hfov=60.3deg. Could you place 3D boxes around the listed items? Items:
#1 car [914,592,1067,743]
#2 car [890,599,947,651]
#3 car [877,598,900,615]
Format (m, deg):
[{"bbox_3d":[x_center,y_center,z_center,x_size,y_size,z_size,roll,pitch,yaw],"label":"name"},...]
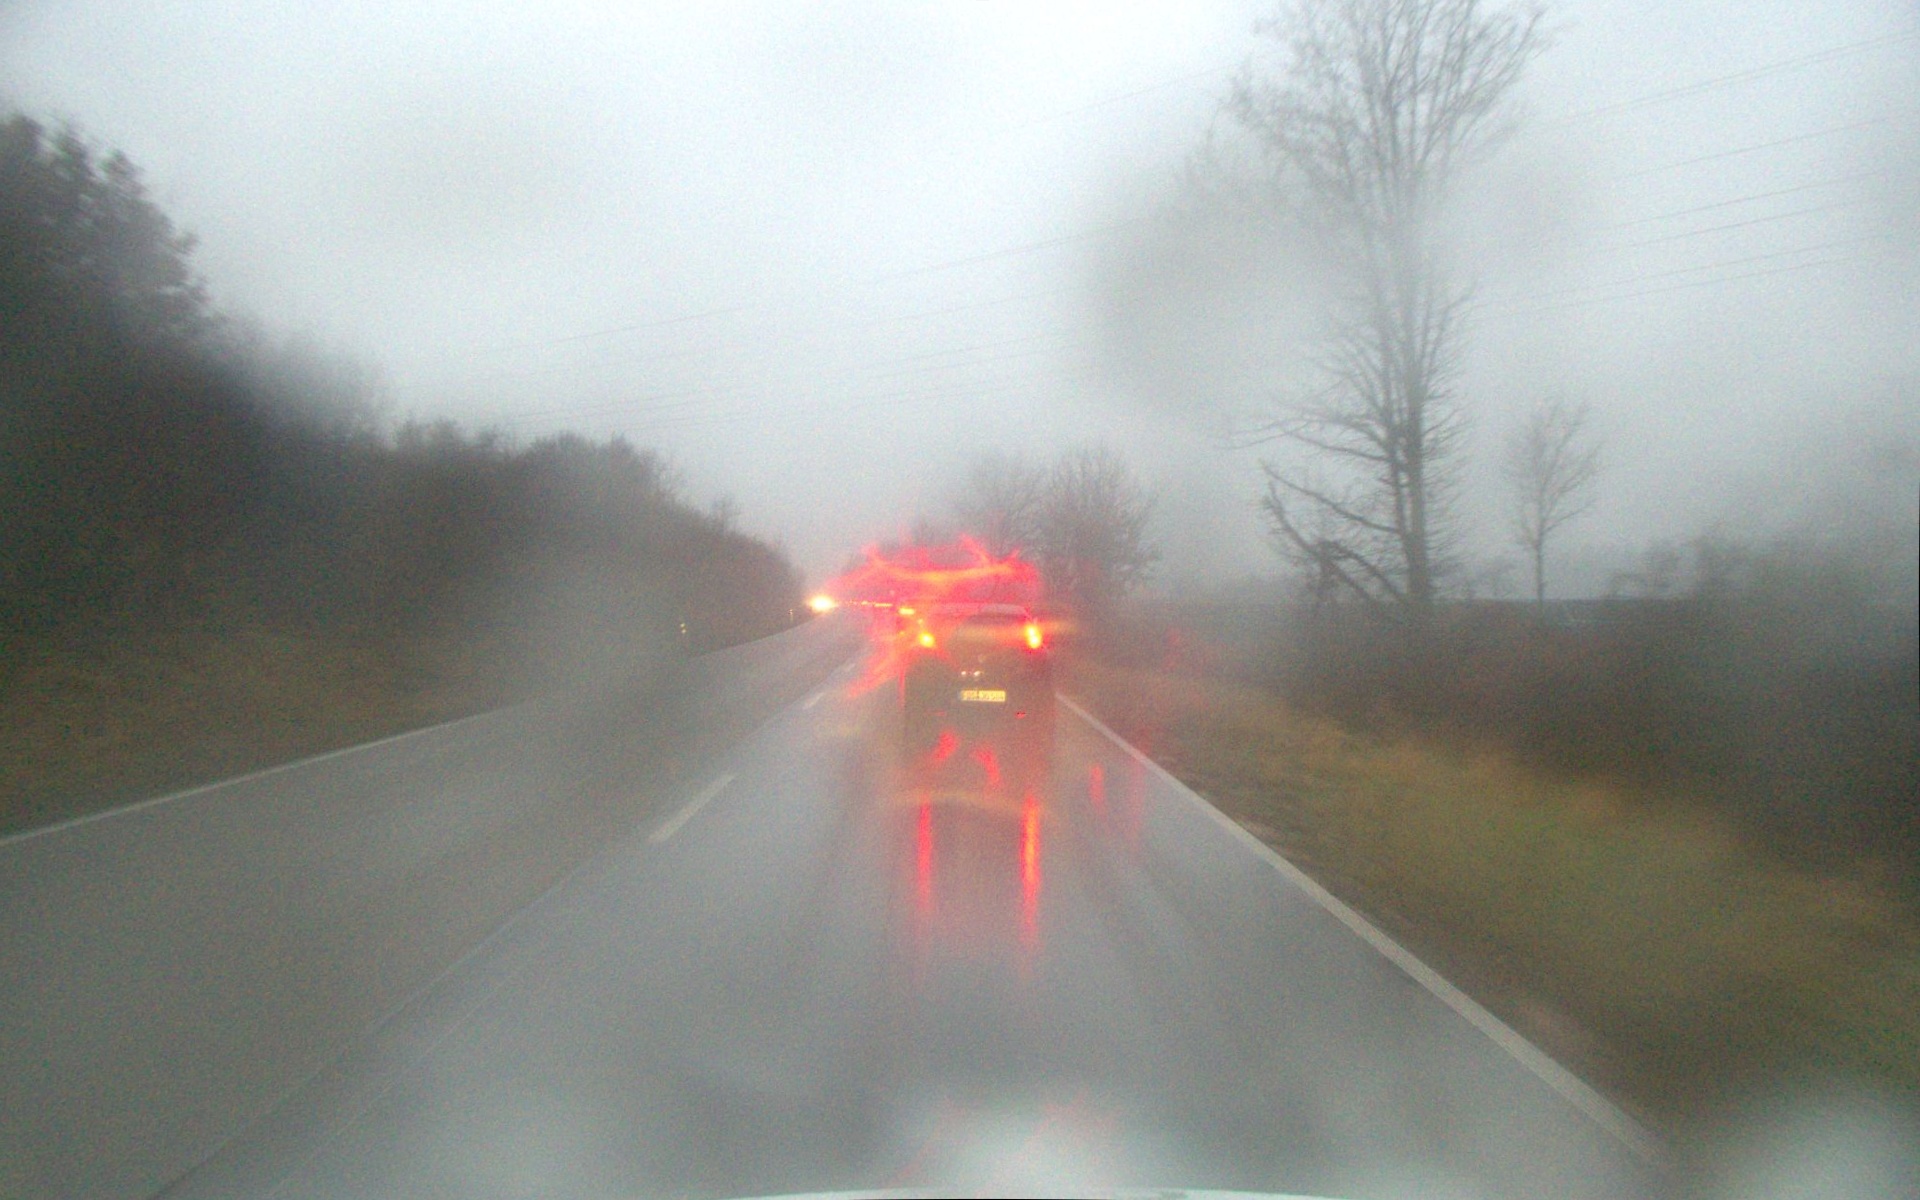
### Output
[{"bbox_3d":[0.304,0.704,19.200,1.569,1.549,3.869,1,0,-1],"label":"car"},{"bbox_3d":[-1.167,0.697,47.772,1.515,1.421,3.869,1,0,0],"label":"car"},{"bbox_3d":[-6.174,0.564,142.387,1.514,1.421,3.871,1,0,4],"label":"car"}]
